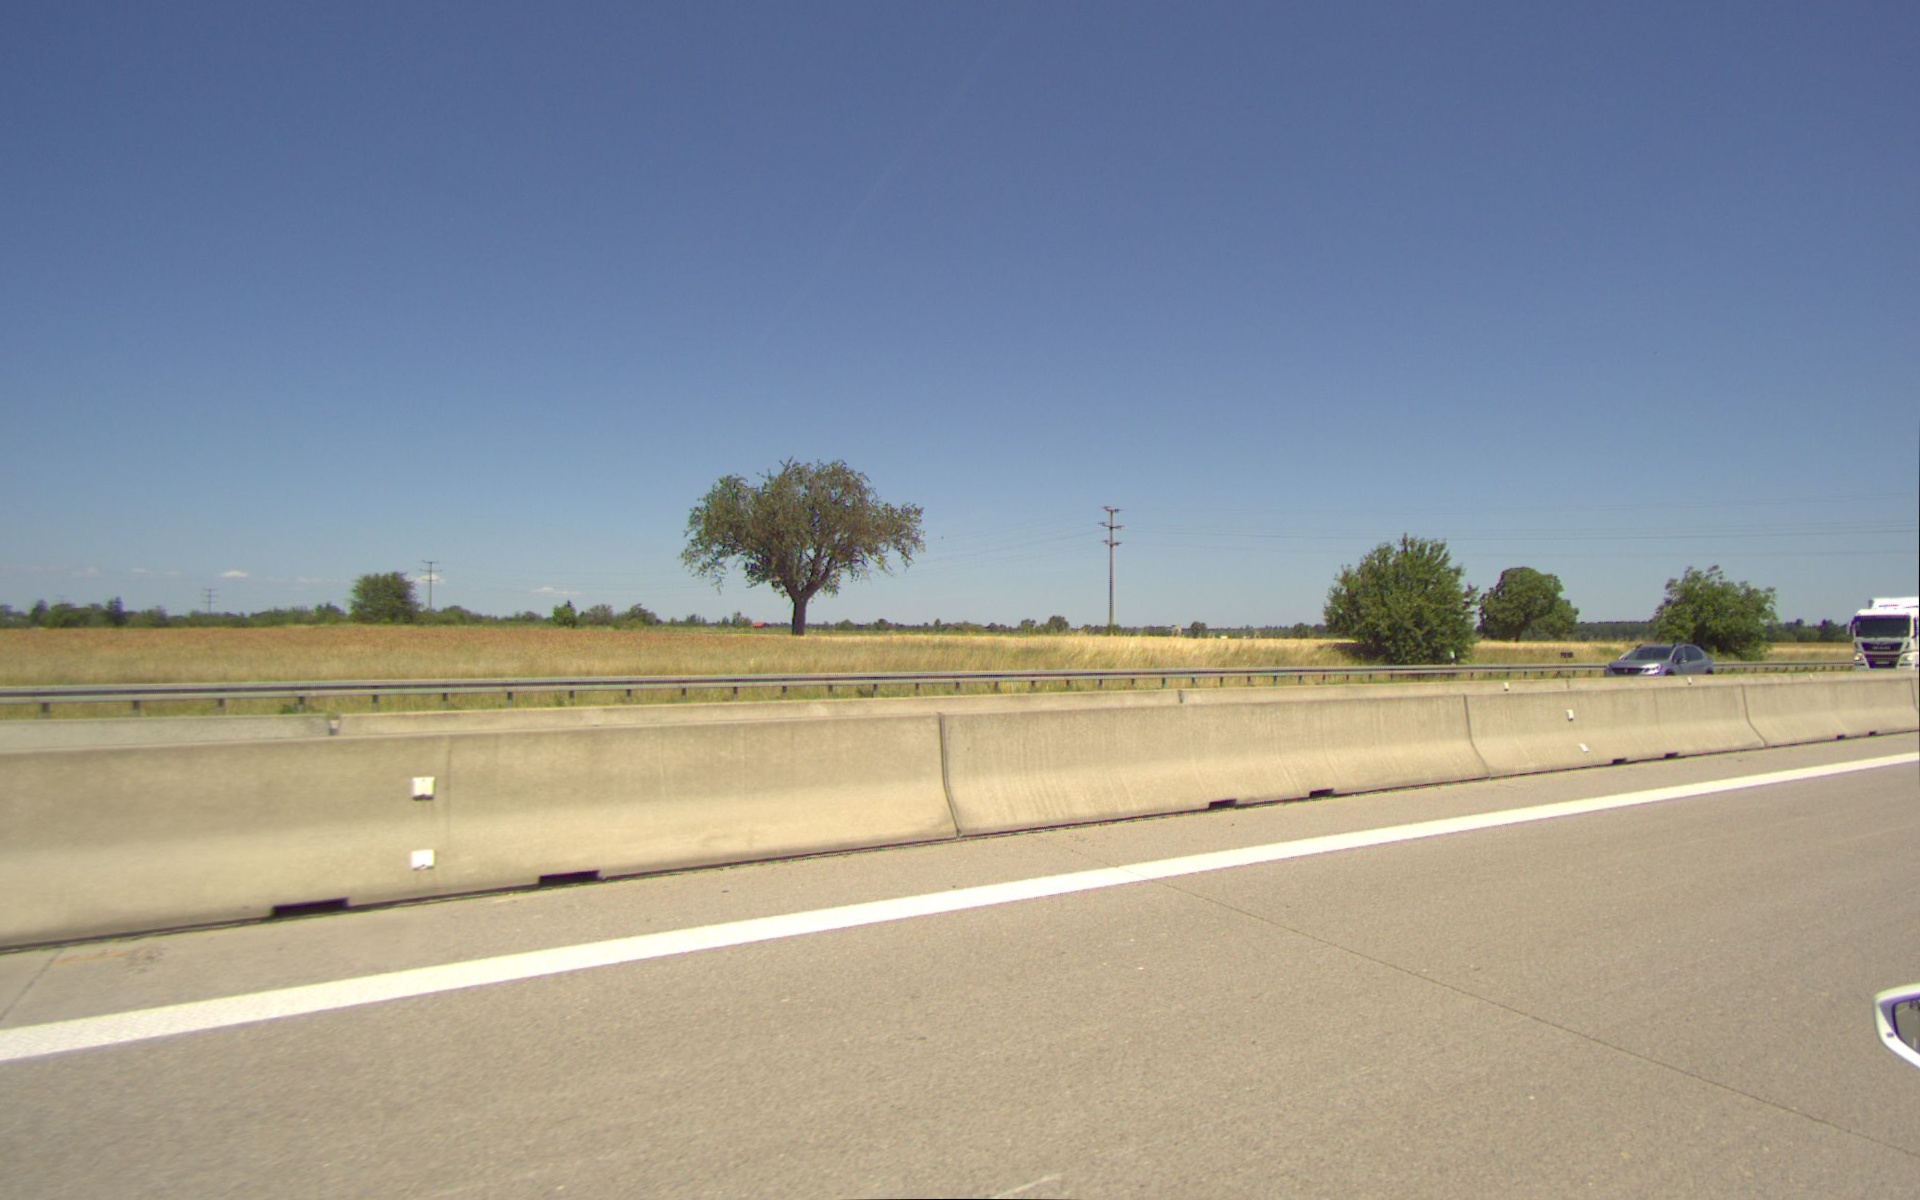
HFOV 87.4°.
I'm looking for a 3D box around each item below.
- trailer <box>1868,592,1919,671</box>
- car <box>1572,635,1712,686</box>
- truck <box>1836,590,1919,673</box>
[{"bbox_3d":[54.573,1.793,55.574,12.529,4.098,2.806,2,0,-31],"label":"trailer"},{"bbox_3d":[20.982,1.834,30.844,4.851,1.391,1.726,2,0,-32],"label":"car"},{"bbox_3d":[48.149,1.600,51.779,5.611,4.098,2.805,2,0,-30],"label":"truck"}]
